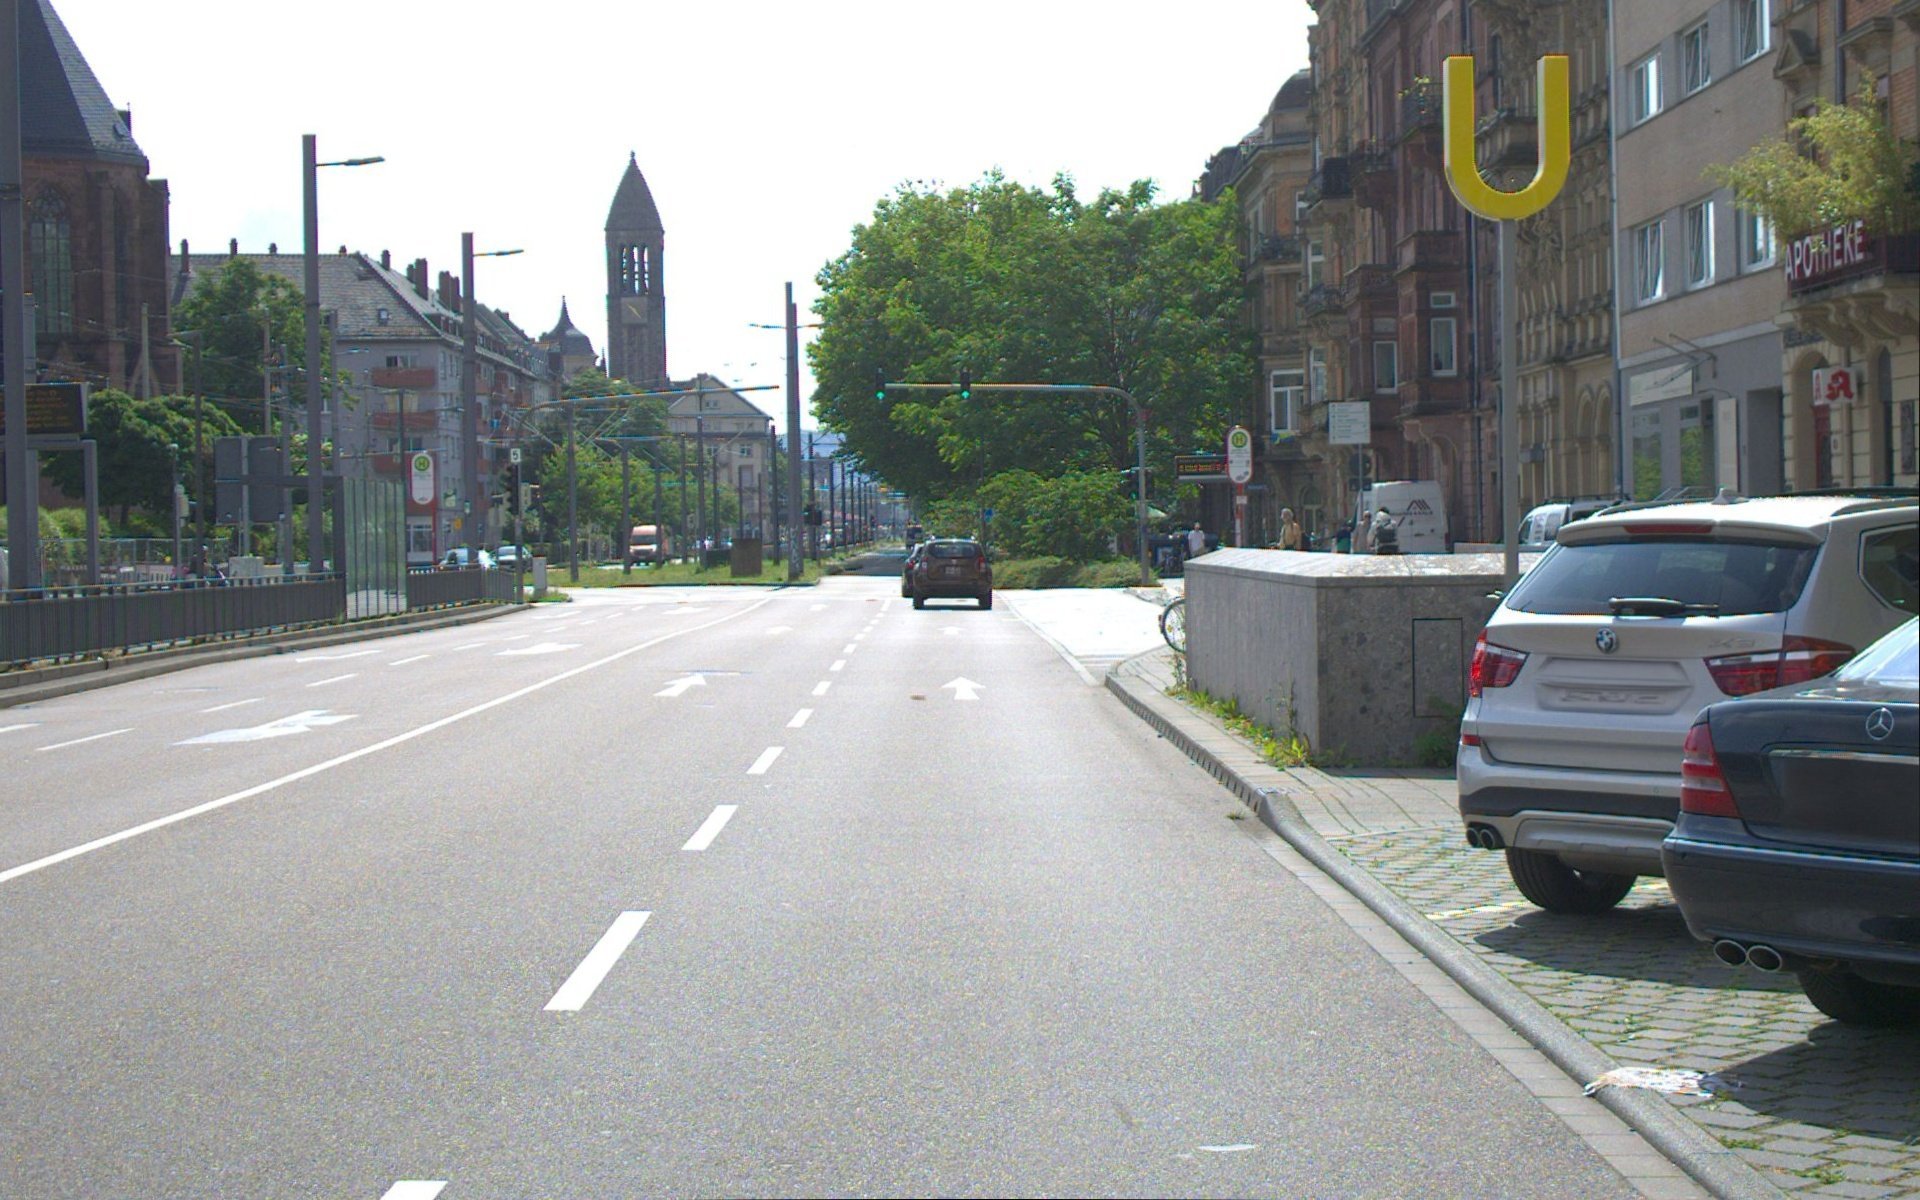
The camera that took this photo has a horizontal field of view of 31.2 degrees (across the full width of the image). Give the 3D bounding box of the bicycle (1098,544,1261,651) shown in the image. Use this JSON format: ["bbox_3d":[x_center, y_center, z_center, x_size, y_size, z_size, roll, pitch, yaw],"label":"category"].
[{"bbox_3d":[2.678,-0.040,41.986,1.923,1.233,0.441,-2,3,-13],"label":"bicycle"}]

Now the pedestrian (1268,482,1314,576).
[{"bbox_3d":[6.748,-1.454,70.132,0.662,1.896,0.695,-2,1,-18],"label":"pedestrian"}]

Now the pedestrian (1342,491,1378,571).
[{"bbox_3d":[9.293,-1.611,79.878,0.662,1.830,0.695,-2,1,-6],"label":"pedestrian"}]

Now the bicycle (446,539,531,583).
[{"bbox_3d":[-12.517,-1.044,91.292,2.019,1.122,0.931,-1,1,10],"label":"bicycle"}]

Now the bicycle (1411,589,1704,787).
[{"bbox_3d":[3.683,0.536,21.273,1.632,1.092,0.613,3,3,-2],"label":"bicycle"}]

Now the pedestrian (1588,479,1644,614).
[{"bbox_3d":[10.331,-0.847,54.180,0.721,2.092,0.786,-1,3,0],"label":"pedestrian"}]

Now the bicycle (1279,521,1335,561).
[{"bbox_3d":[11.220,-1.900,111.184,1.746,1.263,0.466,-1,3,4],"label":"bicycle"}]

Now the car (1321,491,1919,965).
[{"bbox_3d":[3.809,0.375,14.252,4.583,1.641,2.061,-2,2,-43],"label":"car"}]

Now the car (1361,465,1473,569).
[{"bbox_3d":[11.513,-2.103,87.019,1.993,2.517,5.889,-1,1,0],"label":"car"}]

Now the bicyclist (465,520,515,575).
[{"bbox_3d":[-12.476,-1.386,91.318,1.089,1.431,0.824,-1,1,10],"label":"bicyclist"}]

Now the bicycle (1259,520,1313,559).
[{"bbox_3d":[10.915,-2.025,115.145,1.769,1.263,0.466,-1,3,4],"label":"bicycle"}]

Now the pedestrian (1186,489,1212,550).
[{"bbox_3d":[7.905,-2.665,113.593,0.768,2.007,0.715,-1,1,1],"label":"pedestrian"}]

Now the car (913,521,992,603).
[{"bbox_3d":[-0.190,-0.911,79.921,1.689,1.705,3.610,-1,3,-2],"label":"car"}]

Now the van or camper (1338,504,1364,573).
[{"bbox_3d":[11.603,-1.820,101.997,0.666,2.007,0.638,-1,1,0],"label":"van or camper"}]

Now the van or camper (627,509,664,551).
[{"bbox_3d":[-21.427,-4.758,234.448,2.255,2.728,6.204,-1,1,-4],"label":"van or camper"}]

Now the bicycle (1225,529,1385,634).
[{"bbox_3d":[4.296,-0.235,42.824,1.923,1.233,0.441,-2,3,-10],"label":"bicycle"}]

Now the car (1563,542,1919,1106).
[{"bbox_3d":[4.113,0.545,10.584,4.586,1.455,1.938,-1,2,-40],"label":"car"}]

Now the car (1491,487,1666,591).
[{"bbox_3d":[11.579,-1.130,64.694,1.993,1.855,4.754,-1,1,-6],"label":"car"}]

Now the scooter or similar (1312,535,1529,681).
[{"bbox_3d":[5.042,0.084,37.769,2.325,1.540,0.698,-1,3,6],"label":"scooter or similar"}]
